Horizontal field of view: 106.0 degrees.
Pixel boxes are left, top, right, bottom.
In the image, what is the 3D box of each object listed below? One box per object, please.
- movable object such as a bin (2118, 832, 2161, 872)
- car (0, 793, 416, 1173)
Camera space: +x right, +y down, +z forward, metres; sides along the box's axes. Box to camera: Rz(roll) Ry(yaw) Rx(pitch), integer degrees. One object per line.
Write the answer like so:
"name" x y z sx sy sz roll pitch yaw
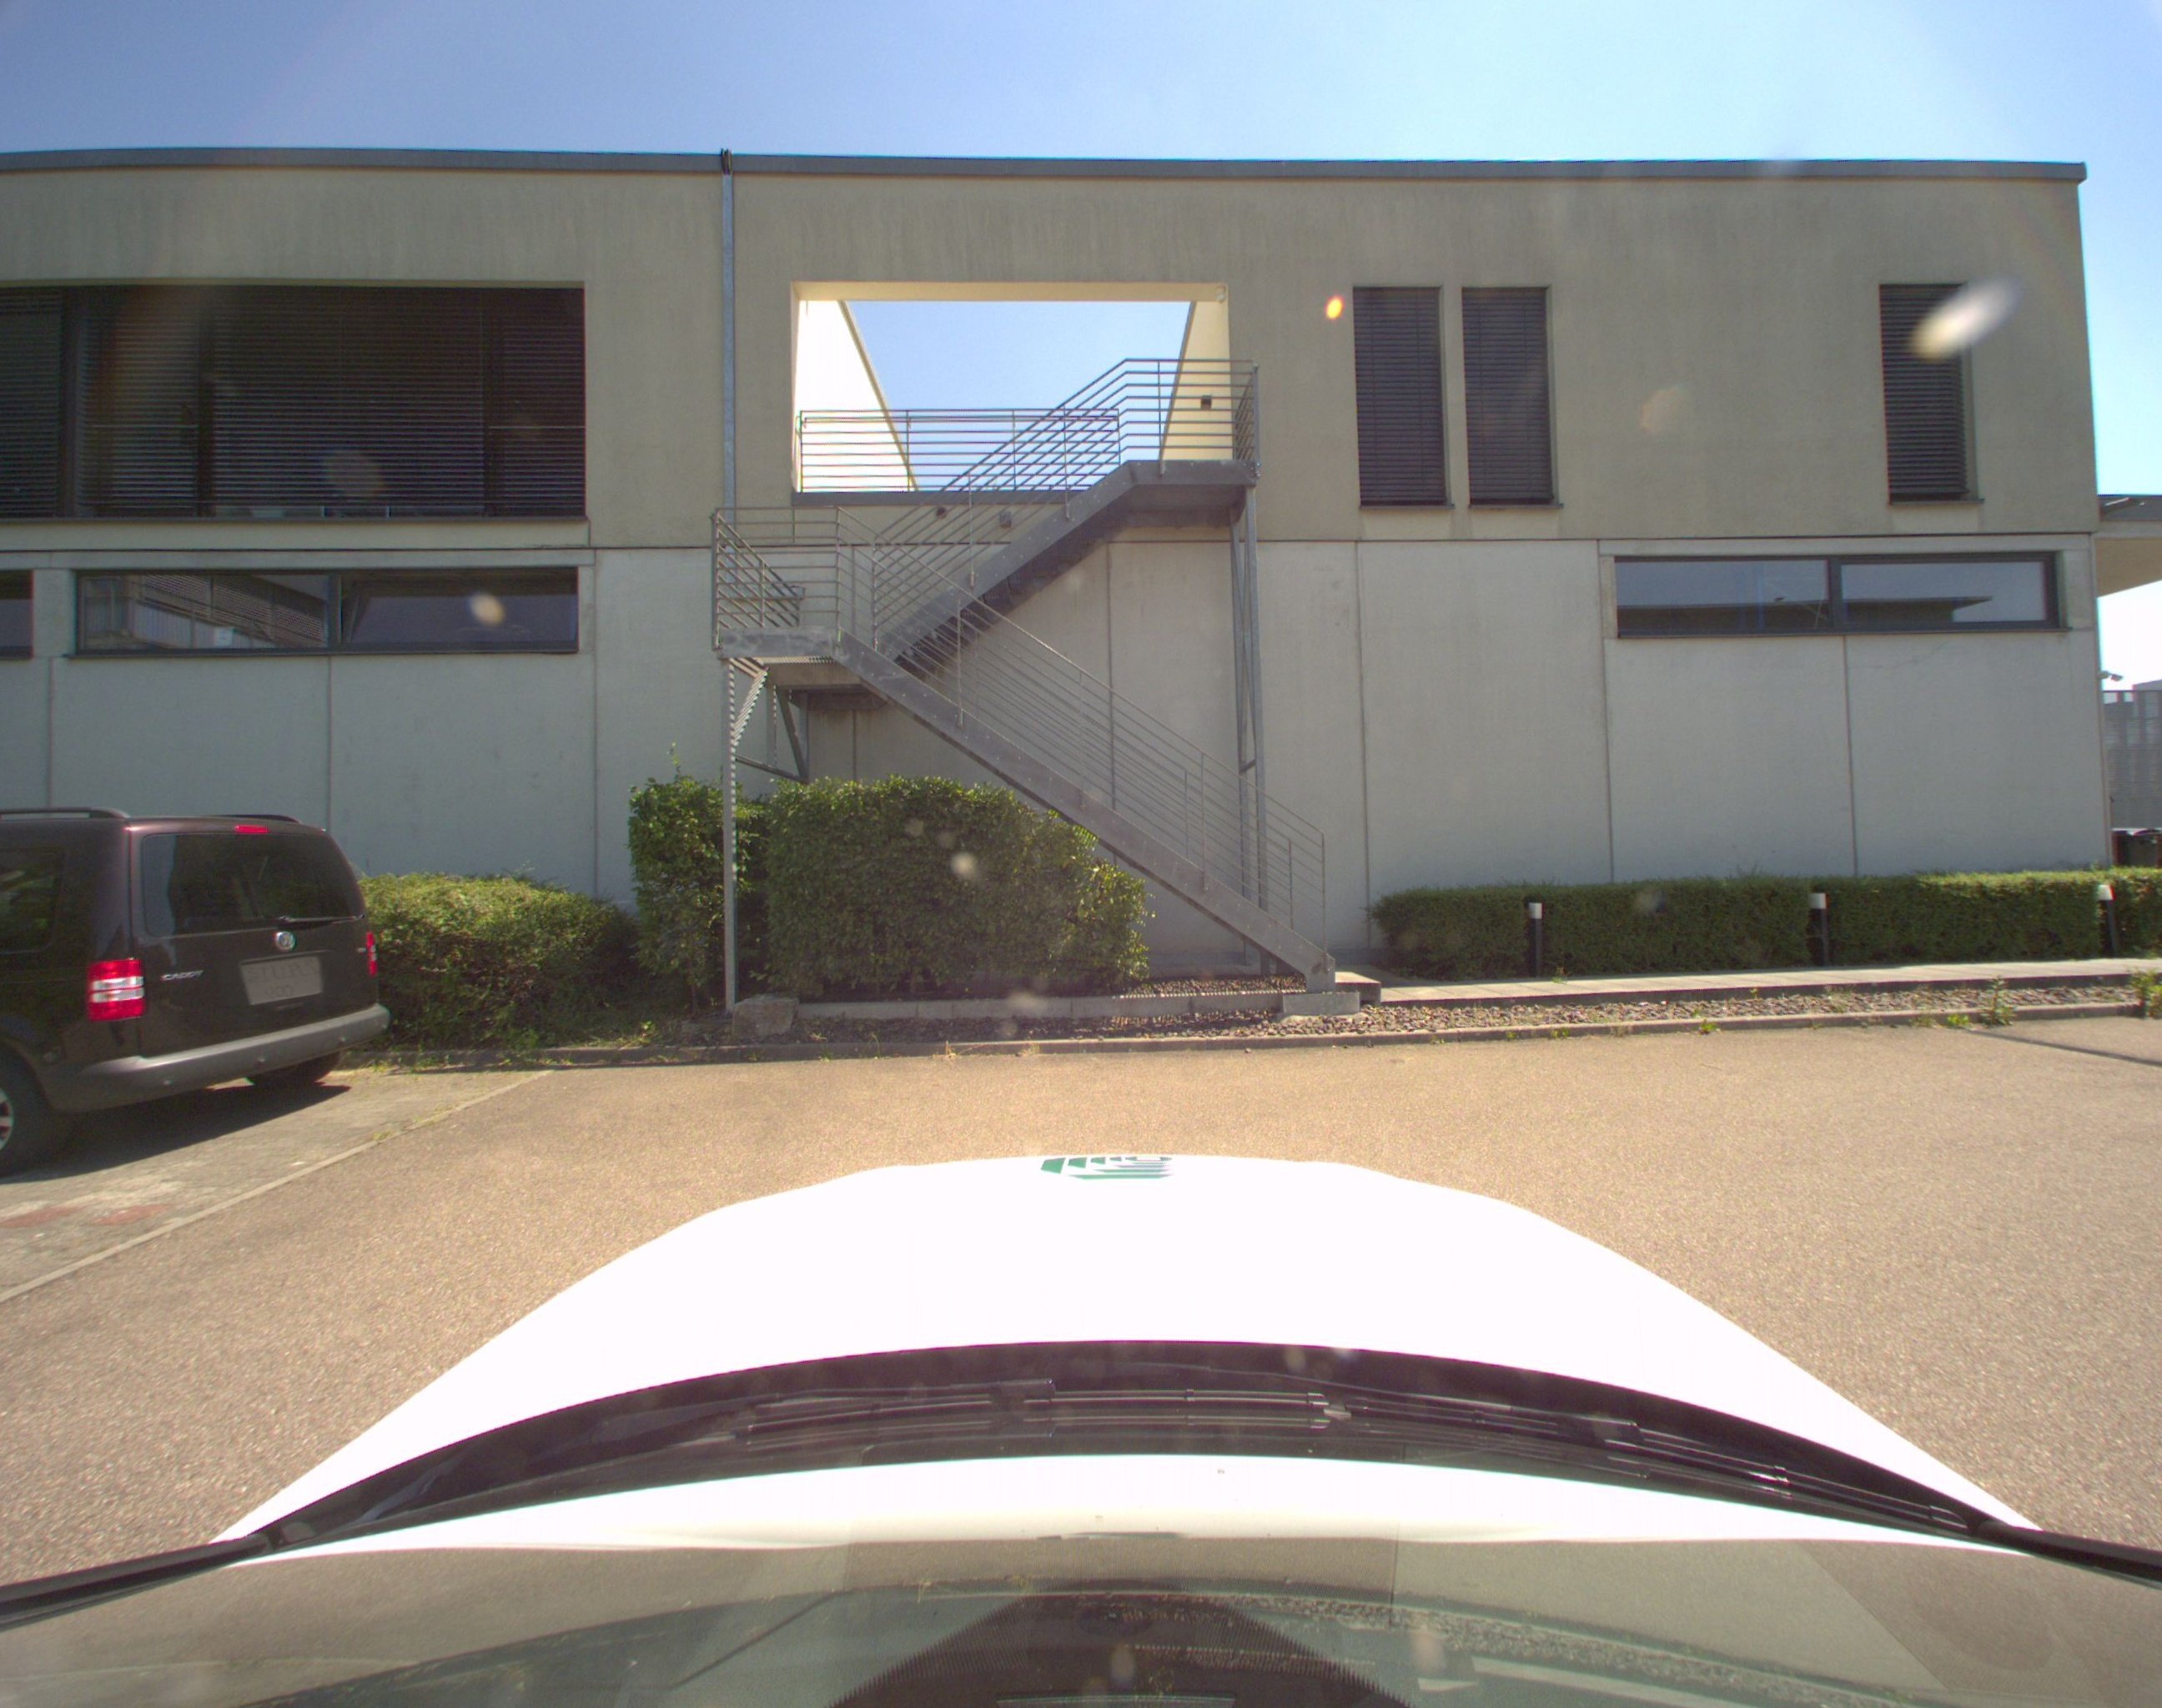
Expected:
"movable object such as a bin" 27.317 -0.058 20.723 0.805 0.980 0.817 -1 0 -2
"car" -6.740 0.680 4.883 4.046 1.884 1.678 -1 0 -1
